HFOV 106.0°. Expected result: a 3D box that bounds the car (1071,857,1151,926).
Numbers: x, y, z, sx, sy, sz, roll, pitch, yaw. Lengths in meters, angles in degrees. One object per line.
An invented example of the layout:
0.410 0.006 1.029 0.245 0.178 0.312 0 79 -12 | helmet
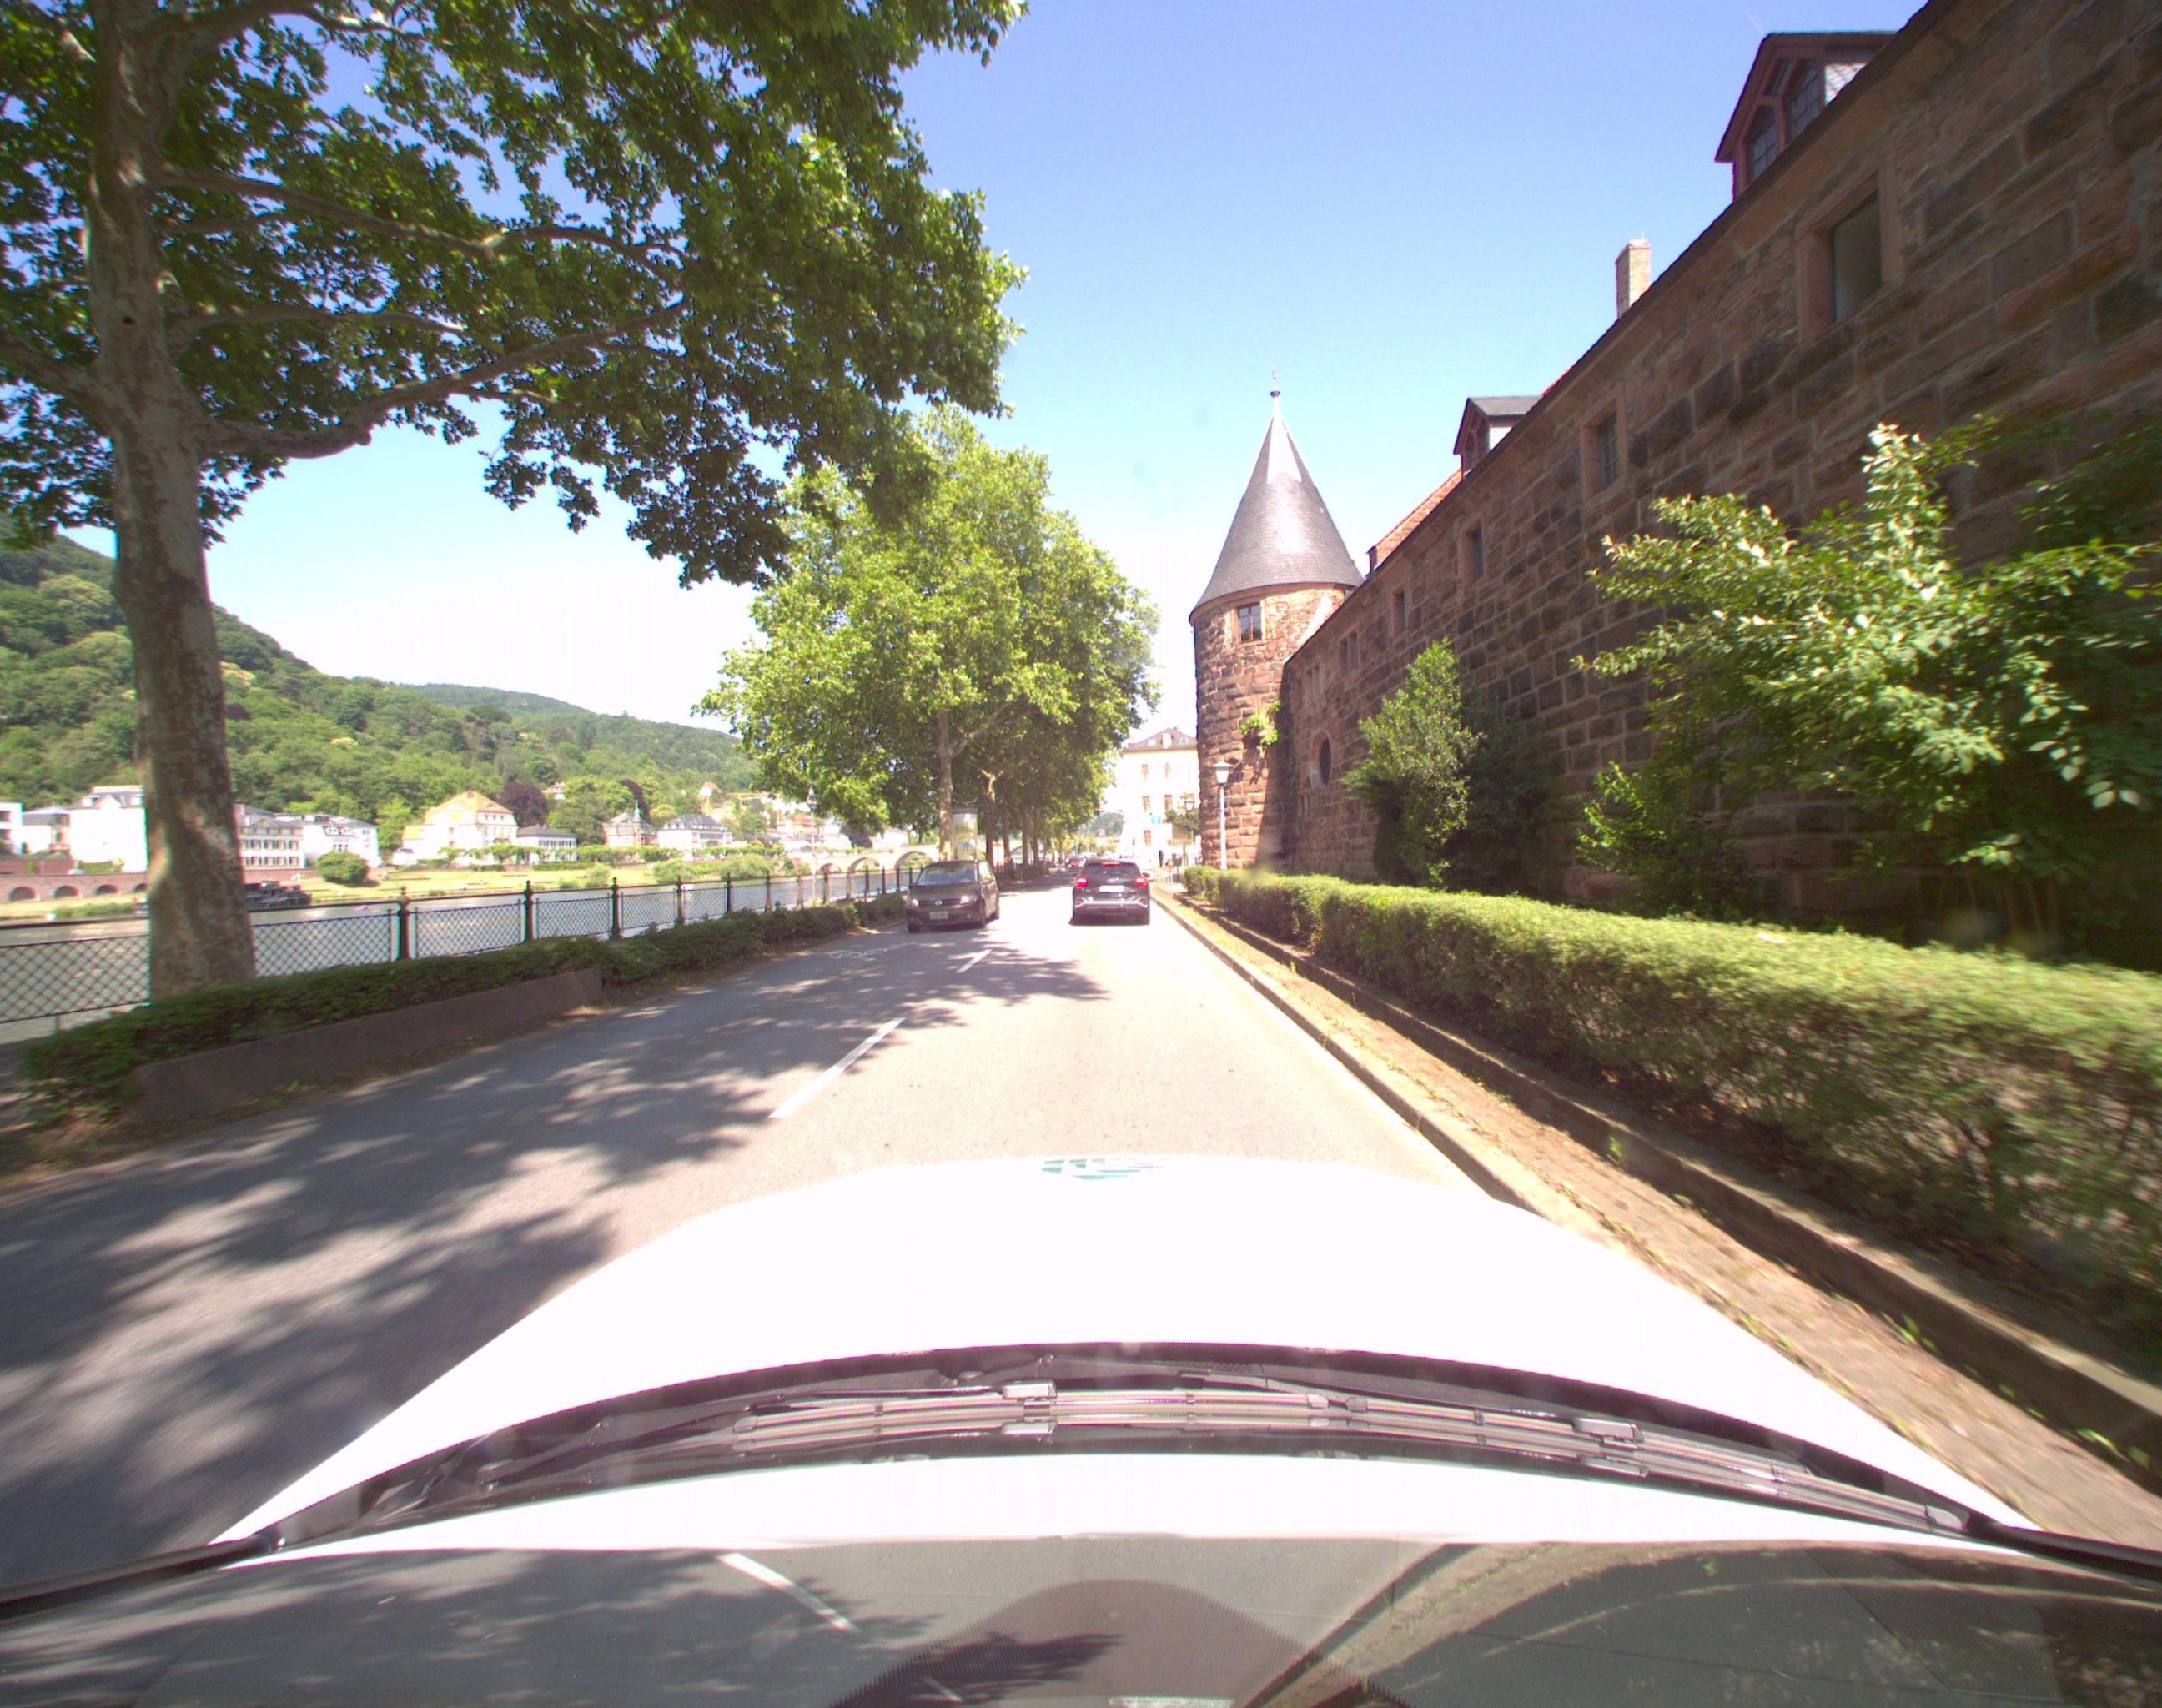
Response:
0.686 0.821 19.551 1.742 1.494 3.629 0 0 1 | car

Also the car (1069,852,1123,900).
0.594 0.770 29.947 1.794 1.562 3.718 -3 0 2 | car

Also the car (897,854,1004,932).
-3.059 0.860 19.929 1.757 1.647 4.091 -3 0 2 | car

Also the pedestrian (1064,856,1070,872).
-1.493 1.000 85.133 0.516 1.638 0.438 -3 0 -6 | pedestrian

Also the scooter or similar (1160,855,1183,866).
7.611 0.557 68.492 1.838 0.963 0.429 0 -1 1 | scooter or similar

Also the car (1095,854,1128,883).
1.796 0.816 47.310 1.794 1.523 3.718 -2 0 2 | car

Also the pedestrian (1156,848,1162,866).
7.250 0.284 76.004 0.555 1.633 0.660 0 -1 3 | pedestrian

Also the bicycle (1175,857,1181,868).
9.449 0.829 79.264 0.449 0.975 1.400 0 -1 2 | bicycle

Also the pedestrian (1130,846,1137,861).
5.377 -0.047 83.735 0.744 1.557 0.589 0 -1 2 | pedestrian

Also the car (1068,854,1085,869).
-0.491 0.853 91.457 1.608 1.523 3.480 -3 0 3 | car

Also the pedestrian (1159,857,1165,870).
7.673 0.865 76.940 0.544 1.201 0.523 0 -1 3 | pedestrian
